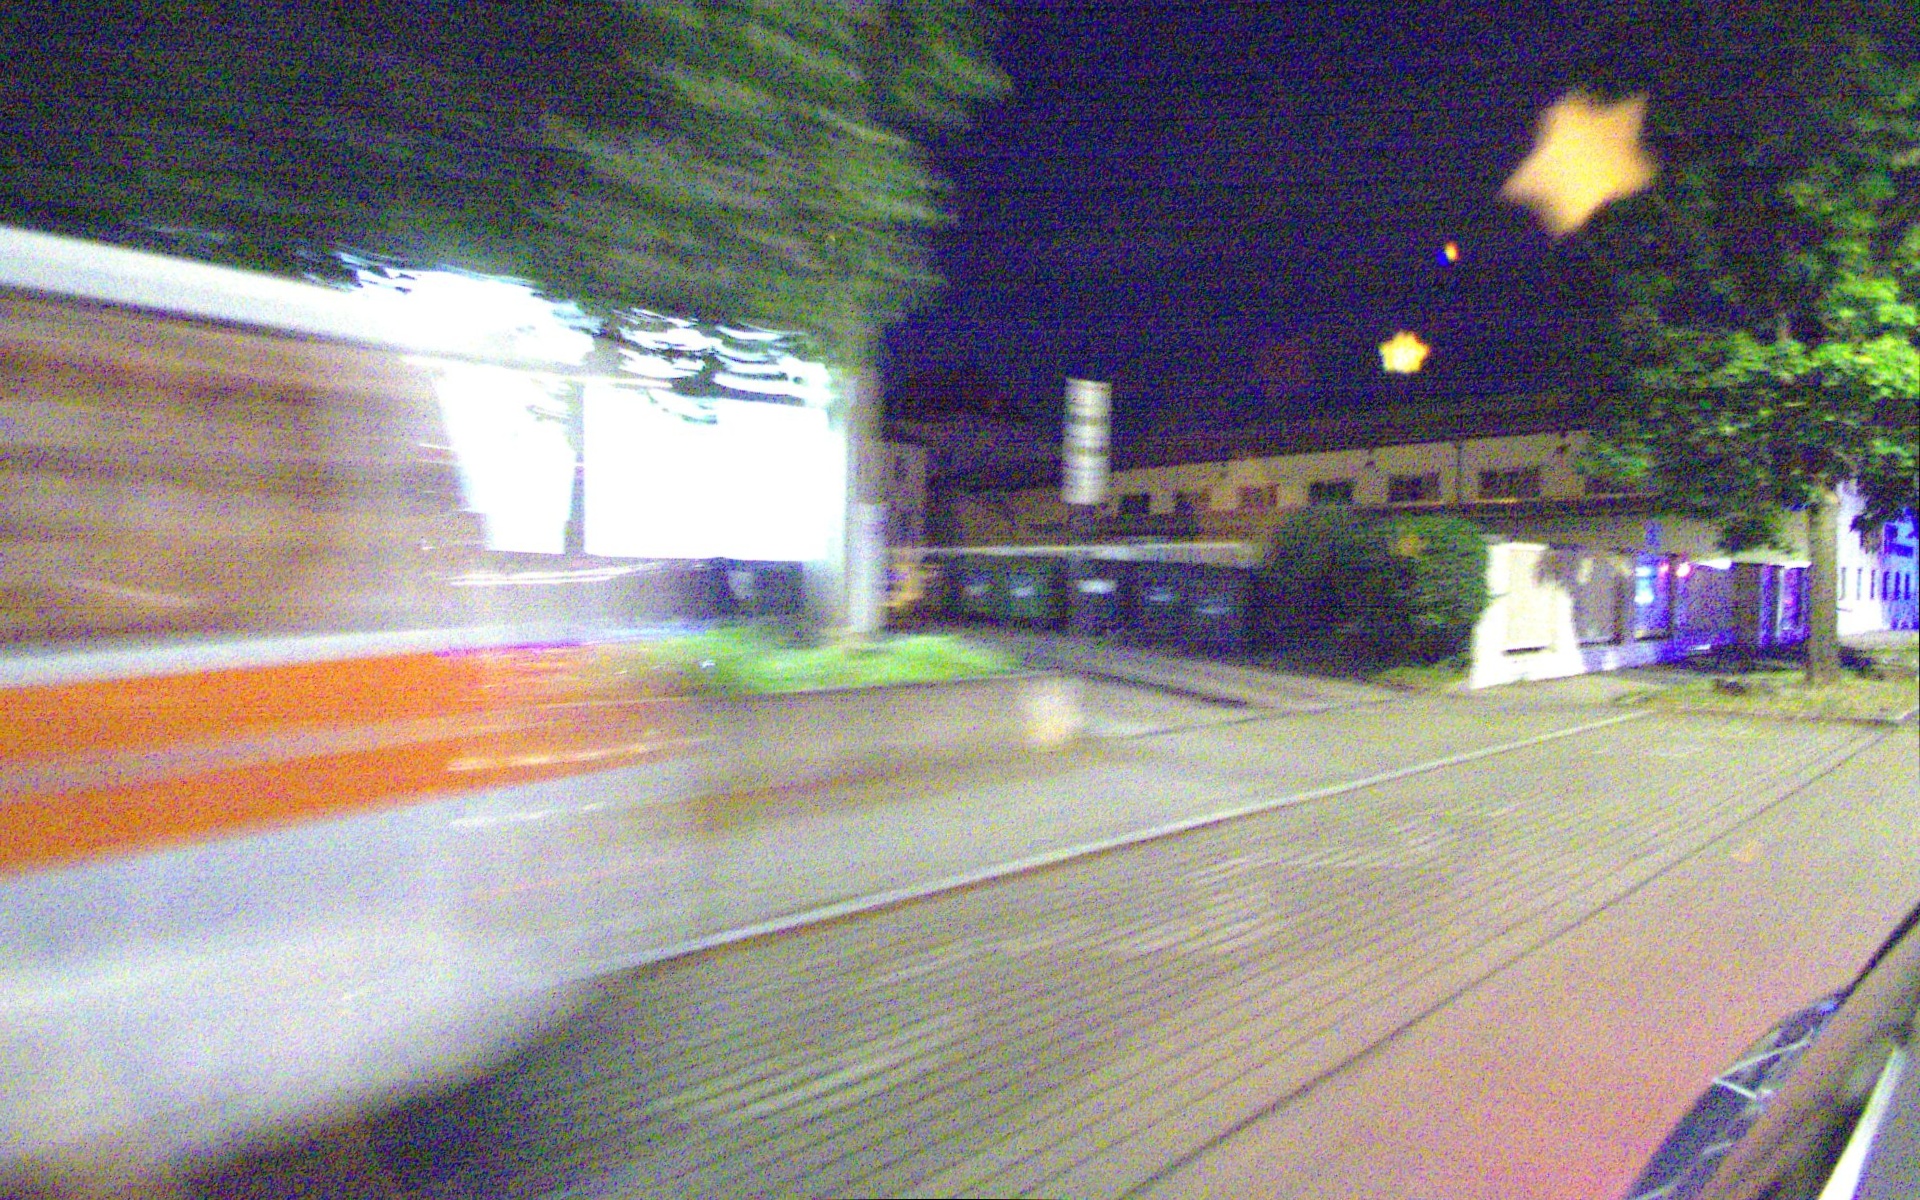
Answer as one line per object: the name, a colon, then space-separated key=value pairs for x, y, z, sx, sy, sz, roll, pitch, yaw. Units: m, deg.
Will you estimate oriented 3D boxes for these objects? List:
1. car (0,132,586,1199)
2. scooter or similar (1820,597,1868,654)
car: x=-2.967 y=0.402 z=0.935 sx=4.525 sy=1.989 sz=1.953 roll=0 pitch=1 yaw=-42
scooter or similar: x=20.726 y=0.575 z=23.718 sx=1.877 sy=1.217 sz=0.548 roll=-2 pitch=4 yaw=-41
